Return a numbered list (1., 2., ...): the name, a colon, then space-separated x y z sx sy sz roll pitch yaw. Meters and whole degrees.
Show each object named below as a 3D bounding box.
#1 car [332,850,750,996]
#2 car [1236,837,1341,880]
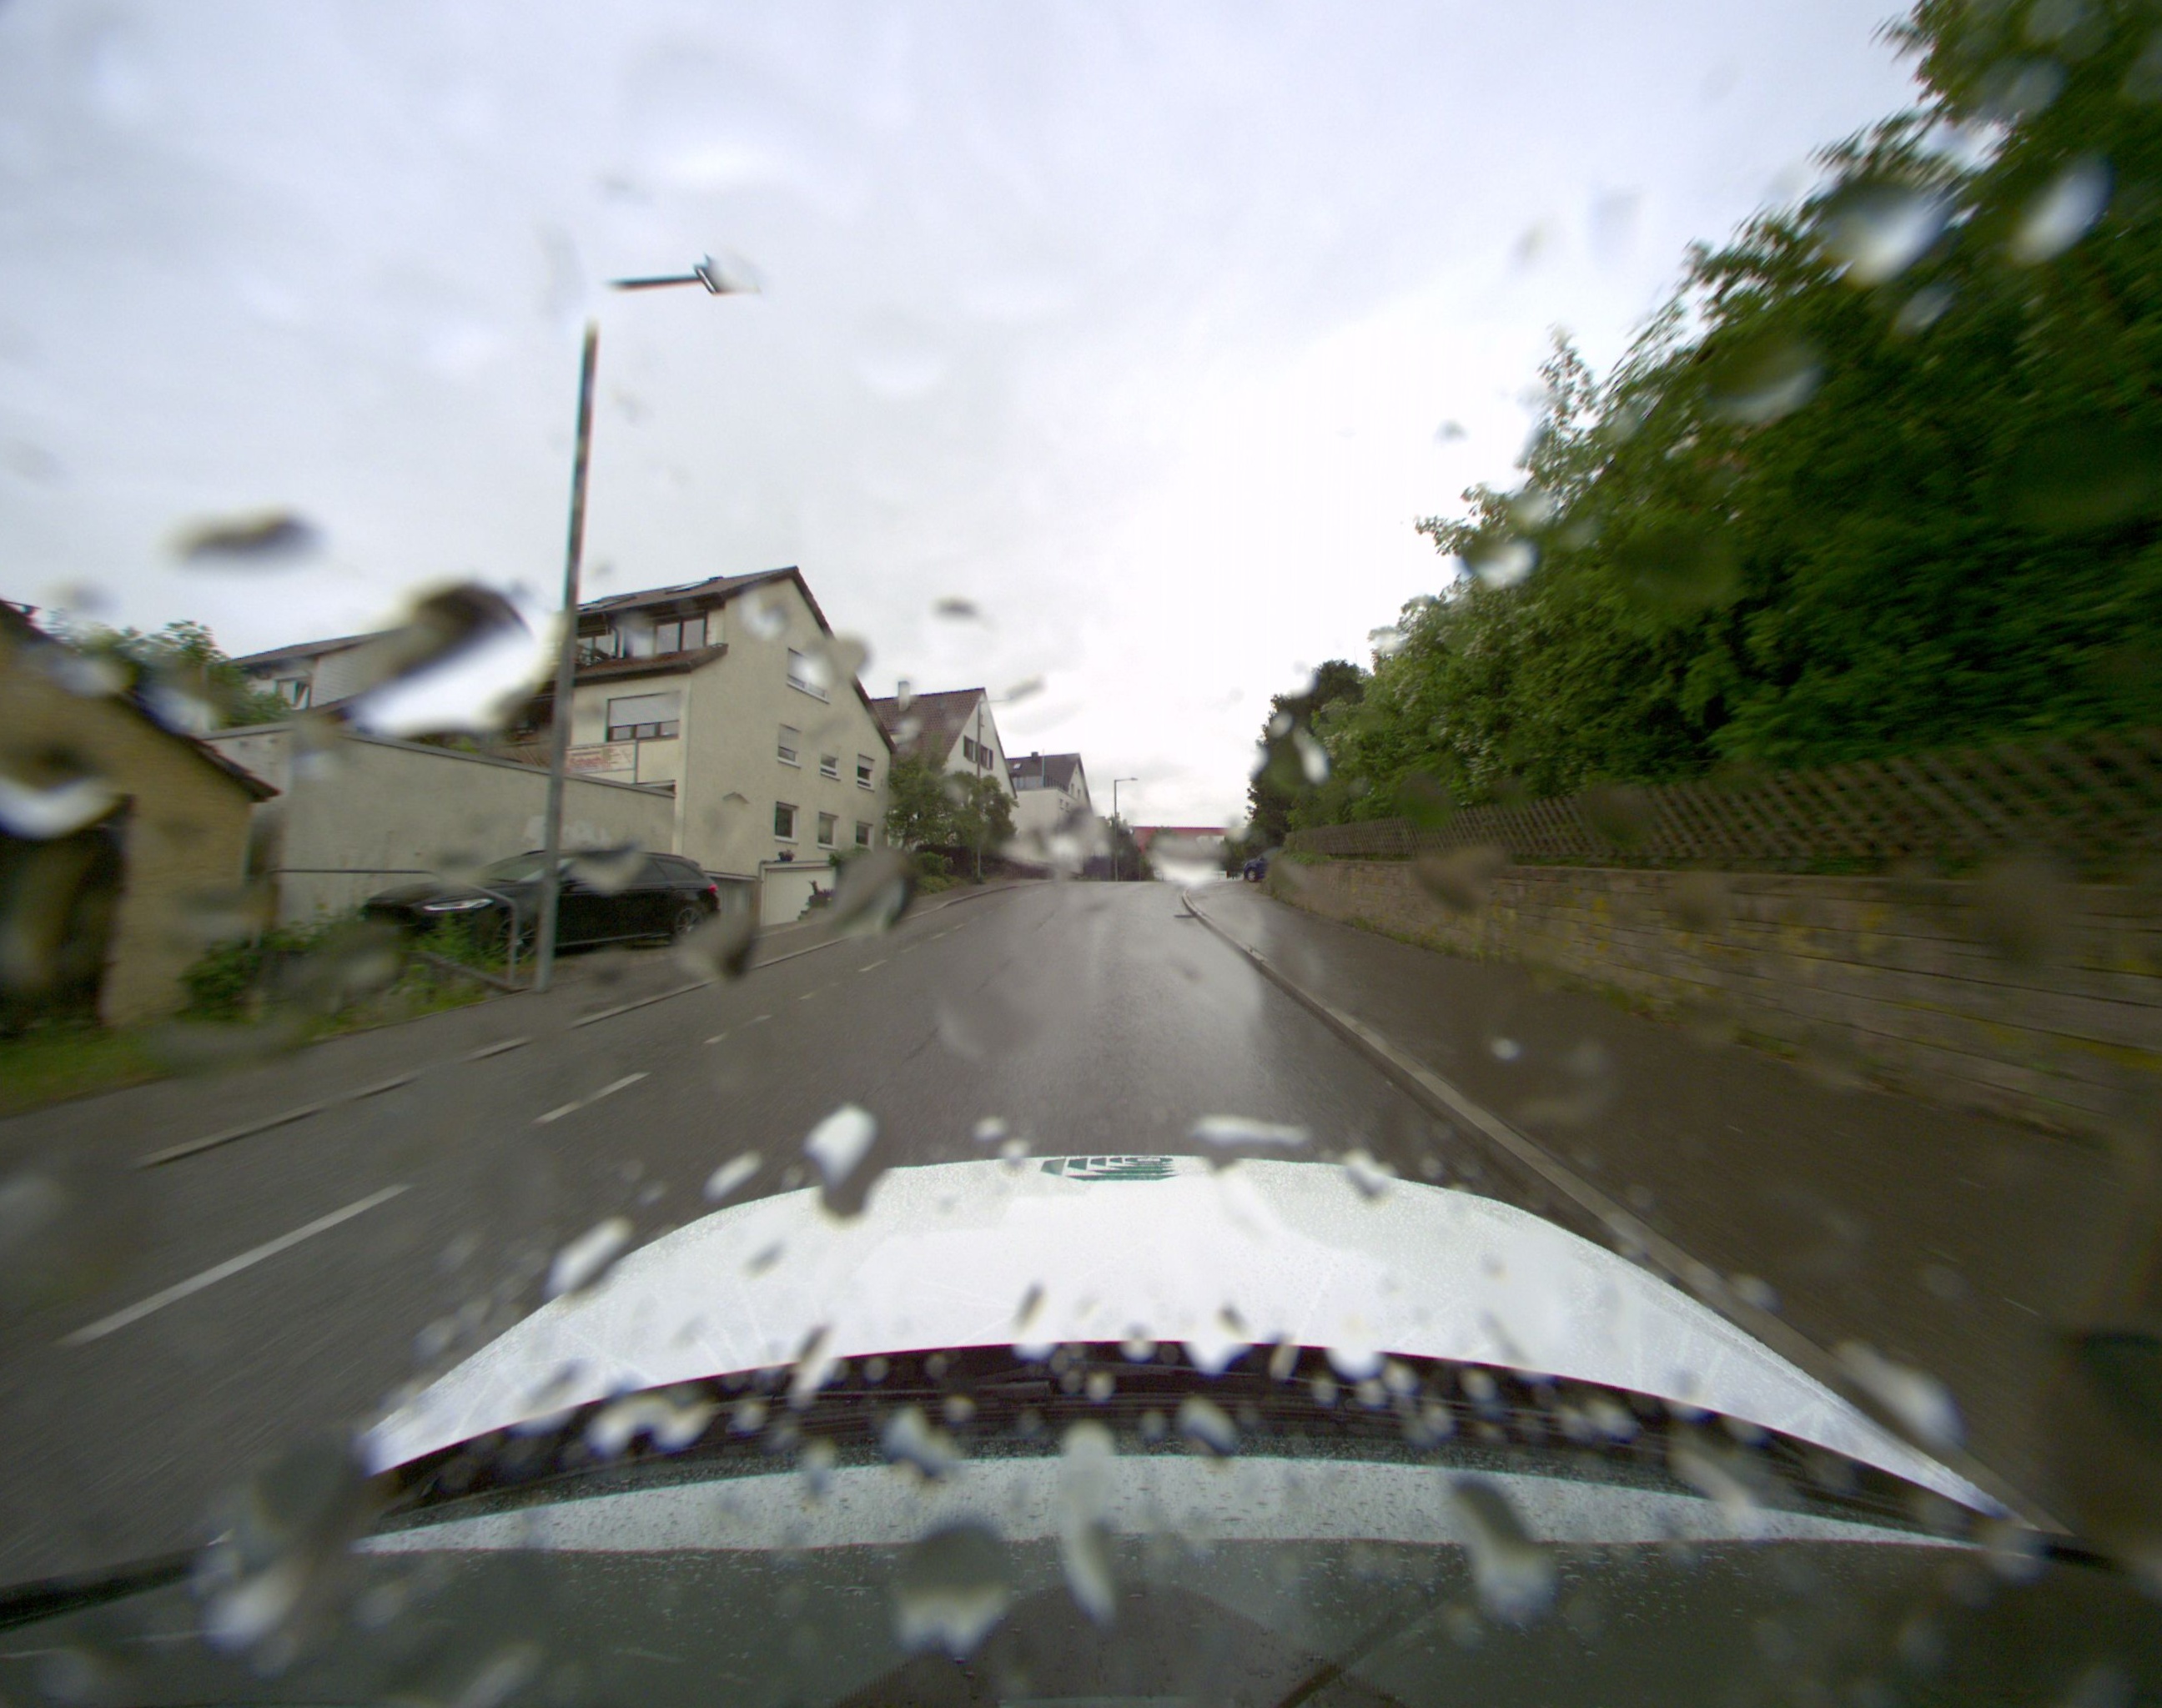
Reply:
1. car: -7.351 0.804 11.919 1.959 1.659 4.983 -2 0 15
2. car: 9.373 0.223 37.117 1.865 1.606 4.291 -6 1 -36
